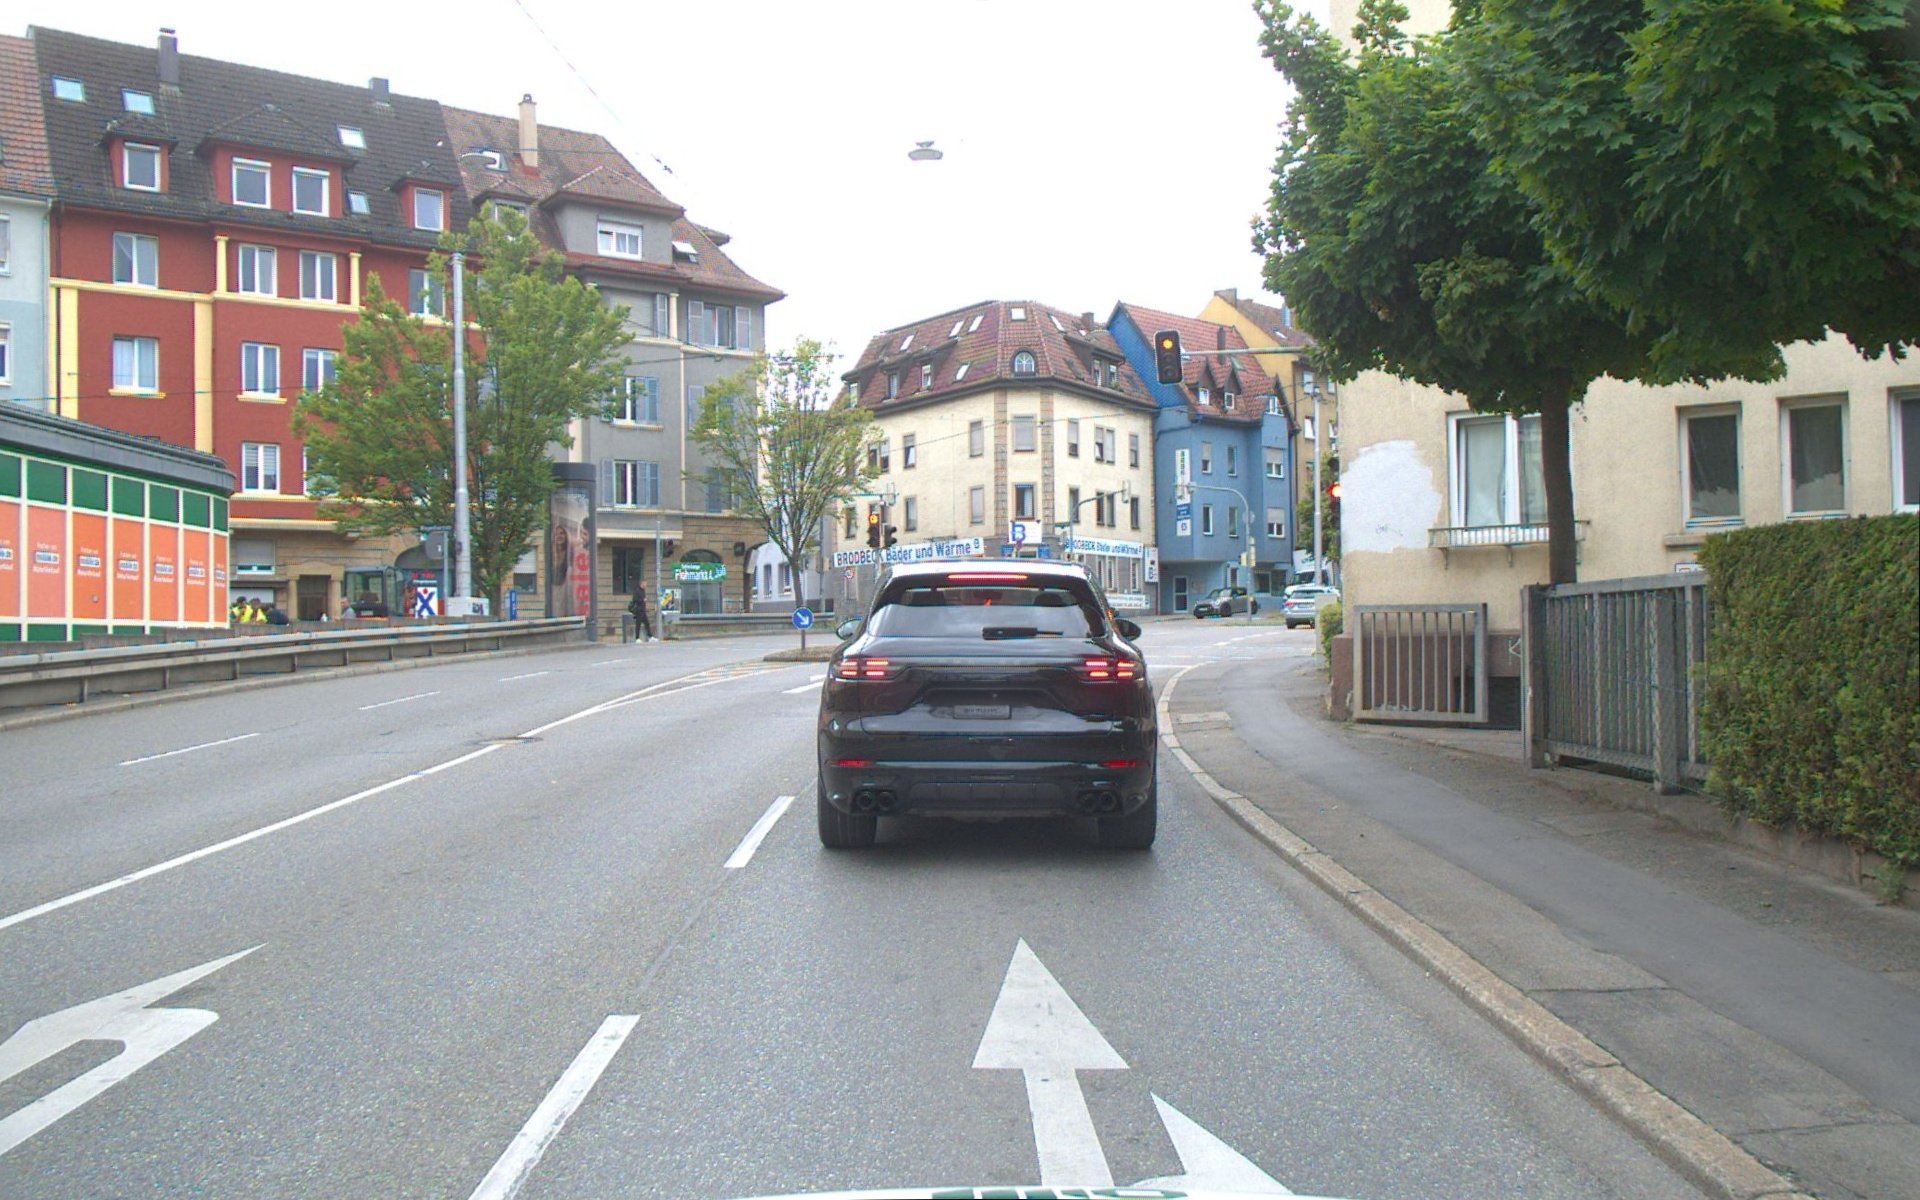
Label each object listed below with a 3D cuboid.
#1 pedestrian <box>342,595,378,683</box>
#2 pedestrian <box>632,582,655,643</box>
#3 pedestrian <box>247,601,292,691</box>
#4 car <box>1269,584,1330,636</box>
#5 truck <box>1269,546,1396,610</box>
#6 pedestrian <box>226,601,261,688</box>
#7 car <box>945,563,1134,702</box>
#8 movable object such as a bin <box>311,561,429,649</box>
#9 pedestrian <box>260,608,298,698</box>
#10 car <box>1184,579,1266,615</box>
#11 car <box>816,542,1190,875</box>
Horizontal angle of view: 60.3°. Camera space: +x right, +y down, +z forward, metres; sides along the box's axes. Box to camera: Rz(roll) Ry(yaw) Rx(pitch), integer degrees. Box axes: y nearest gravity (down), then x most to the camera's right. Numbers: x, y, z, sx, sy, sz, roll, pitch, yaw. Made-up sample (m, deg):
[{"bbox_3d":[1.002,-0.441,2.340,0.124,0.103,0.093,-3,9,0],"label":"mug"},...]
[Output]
[{"bbox_3d":[-12.260,0.787,33.779,0.536,1.760,0.587,1,0,-33],"label":"pedestrian"},{"bbox_3d":[-9.203,0.355,48.082,0.503,1.760,0.451,1,0,4],"label":"pedestrian"},{"bbox_3d":[-14.046,0.925,33.648,0.561,1.792,0.615,1,0,36],"label":"pedestrian"},{"bbox_3d":[11.704,0.335,57.177,1.951,1.713,4.004,-1,0,10],"label":"car"},{"bbox_3d":[20.710,-1.154,91.586,2.832,3.398,8.737,1,1,43],"label":"truck"},{"bbox_3d":[-14.854,0.917,34.291,0.473,1.760,0.534,1,0,-44],"label":"pedestrian"},{"bbox_3d":[1.190,0.396,22.580,1.951,1.713,4.004,-1,0,12],"label":"car"},{"bbox_3d":[-13.029,0.091,36.749,1.868,1.802,3.989,1,0,-12],"label":"movable object such as a bin"},{"bbox_3d":[-13.348,1.038,32.420,0.552,1.729,0.542,1,0,-10],"label":"pedestrian"},{"bbox_3d":[13.164,-0.148,82.051,3.966,1.713,1.969,-1,0,-42],"label":"car"},{"bbox_3d":[0.187,0.527,10.616,1.938,1.713,3.999,-1,1,-1],"label":"car"}]
